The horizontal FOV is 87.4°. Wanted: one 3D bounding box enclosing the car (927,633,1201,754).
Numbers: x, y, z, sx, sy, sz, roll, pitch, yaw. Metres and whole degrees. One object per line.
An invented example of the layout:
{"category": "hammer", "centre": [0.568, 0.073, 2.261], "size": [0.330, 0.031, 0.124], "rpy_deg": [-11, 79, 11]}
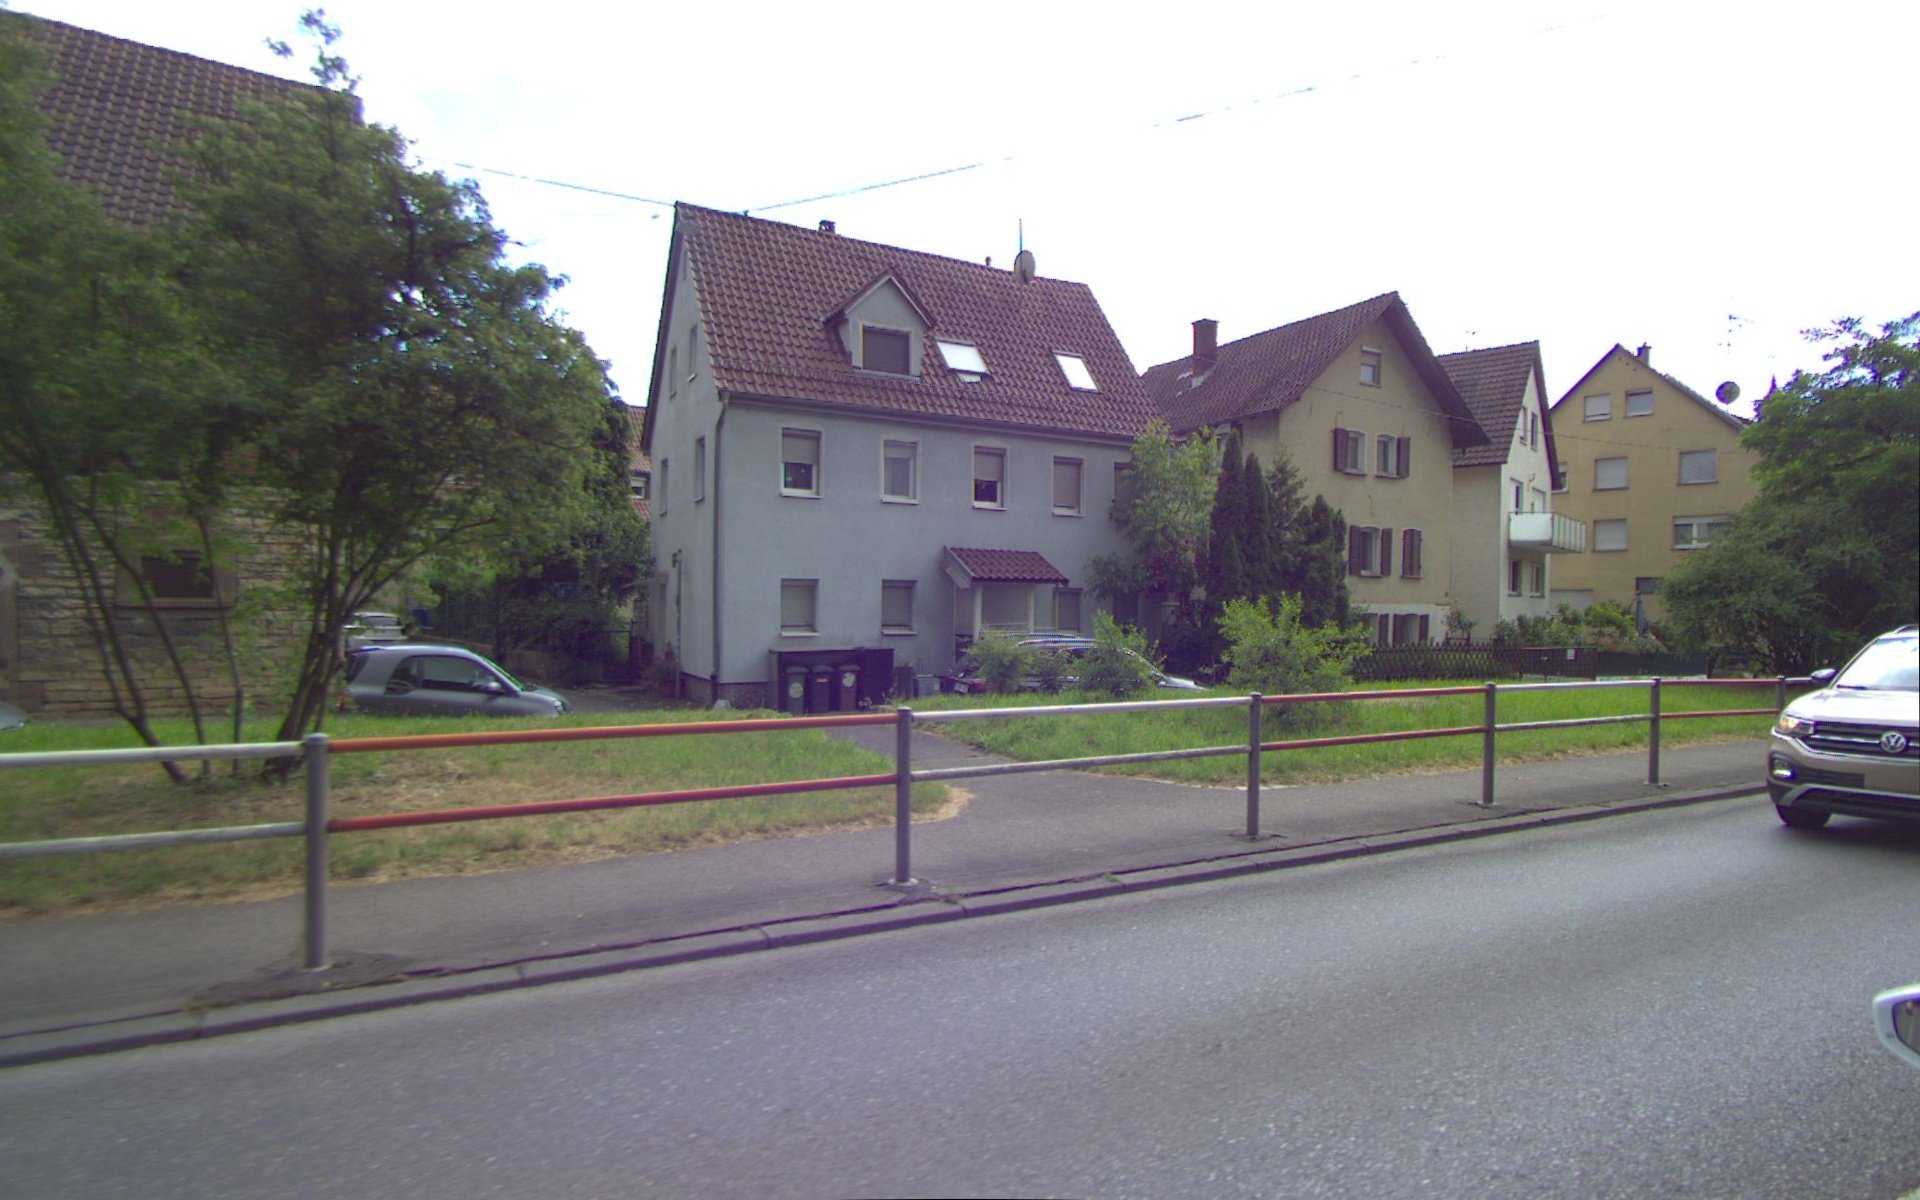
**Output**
{"category": "car", "centre": [1.648, 1.399, 16.013], "size": [3.945, 1.717, 1.916], "rpy_deg": [1, -2, -25]}

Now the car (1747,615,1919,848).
{"category": "car", "centre": [7.980, 0.913, 7.736], "size": [3.953, 1.531, 1.696], "rpy_deg": [1, -2, -30]}

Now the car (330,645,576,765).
{"category": "car", "centre": [-6.101, 1.218, 12.313], "size": [2.519, 1.294, 1.548], "rpy_deg": [1, -2, -25]}

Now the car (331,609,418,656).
{"category": "car", "centre": [-19.601, 1.074, 33.556], "size": [1.703, 1.451, 3.951], "rpy_deg": [5, -4, -42]}

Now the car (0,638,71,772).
{"category": "car", "centre": [-11.466, 1.015, 9.625], "size": [3.945, 1.294, 1.988], "rpy_deg": [1, -2, -25]}
